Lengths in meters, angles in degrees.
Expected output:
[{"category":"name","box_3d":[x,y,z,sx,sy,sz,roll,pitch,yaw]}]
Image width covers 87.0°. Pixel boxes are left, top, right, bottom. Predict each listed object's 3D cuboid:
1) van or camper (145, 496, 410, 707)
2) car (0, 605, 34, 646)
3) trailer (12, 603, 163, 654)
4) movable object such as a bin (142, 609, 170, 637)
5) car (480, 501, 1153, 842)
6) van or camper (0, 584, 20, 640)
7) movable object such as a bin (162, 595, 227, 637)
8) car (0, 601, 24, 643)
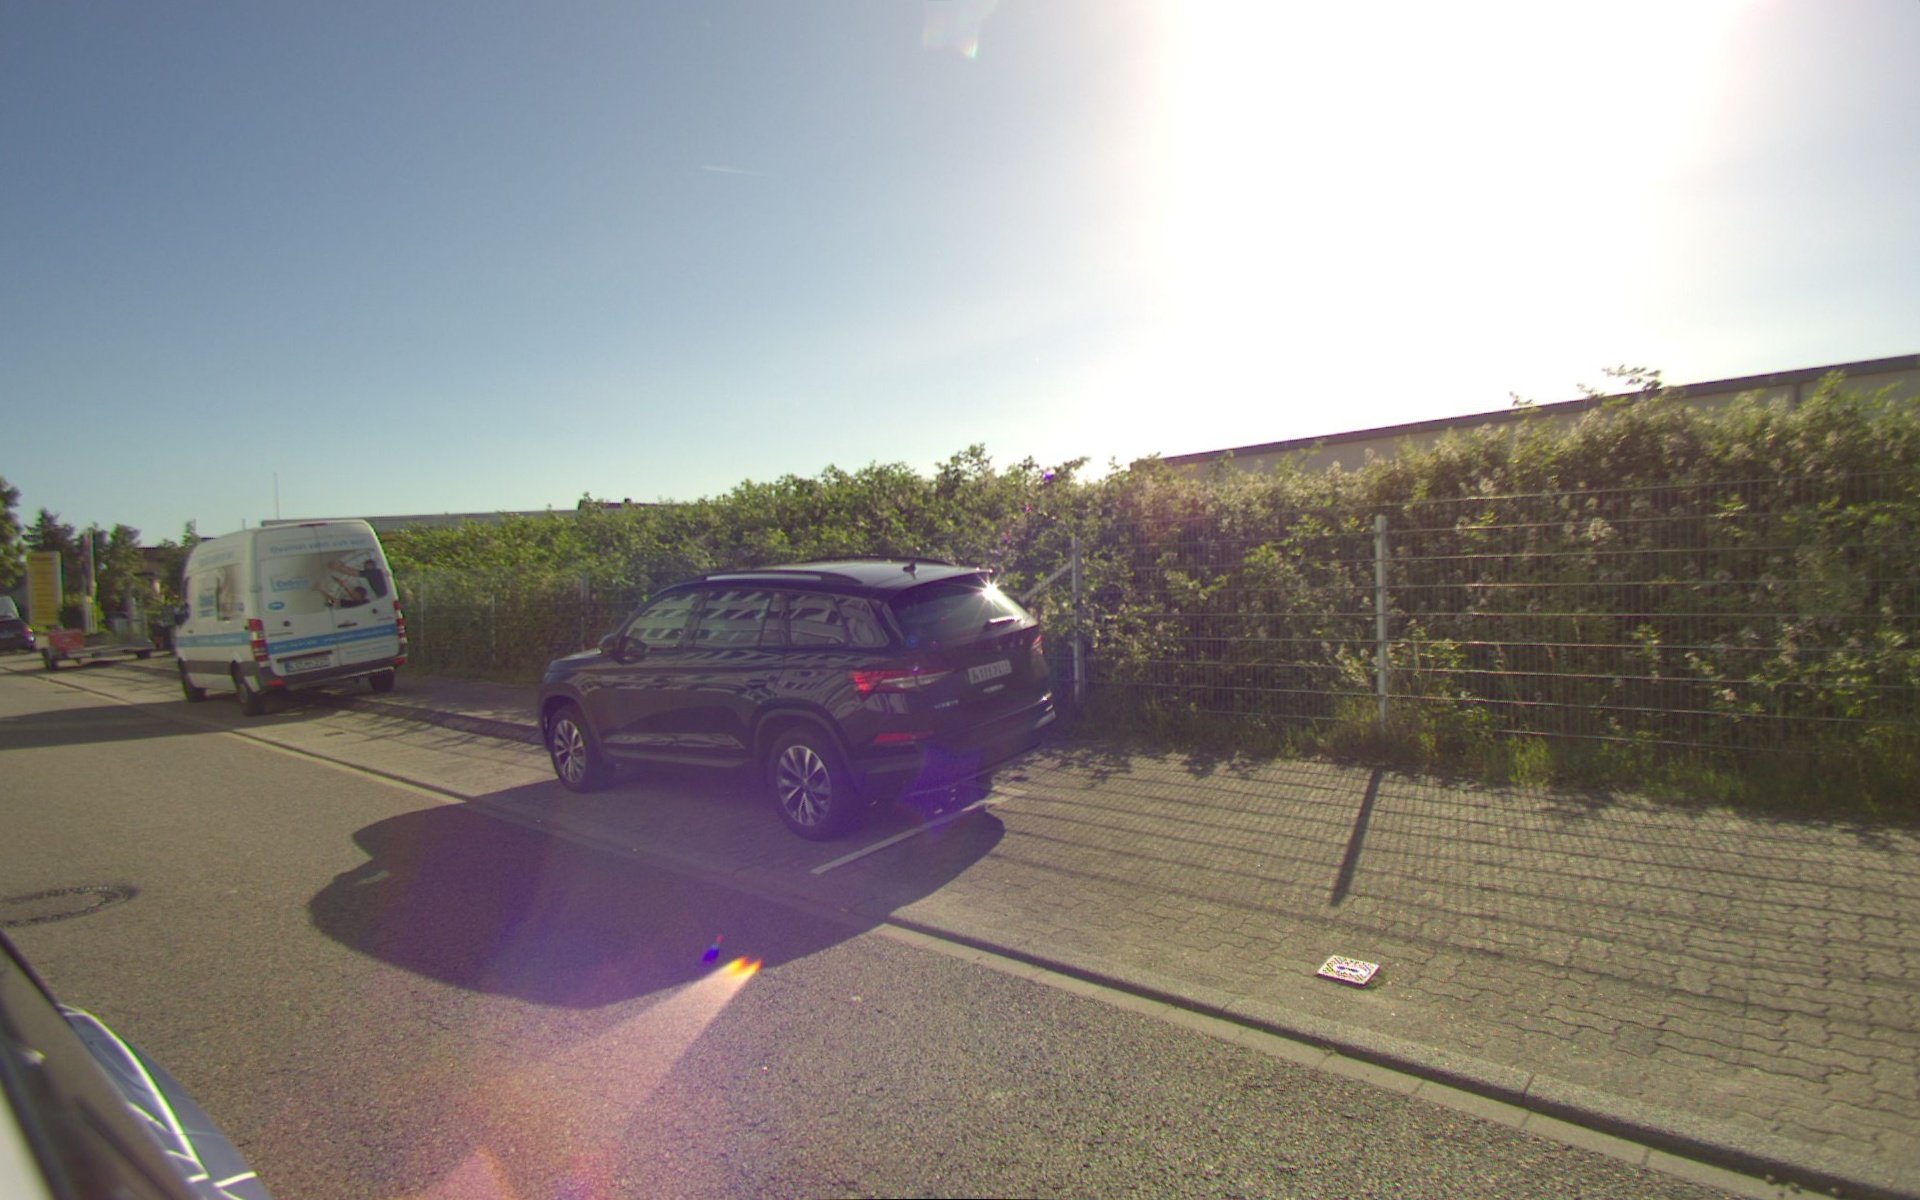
[{"category":"van or camper","box_3d":[-11.008,-0.020,16.079,5.948,2.704,1.946,-1,6,43]},{"category":"car","box_3d":[-39.641,1.068,41.567,5.001,1.520,1.781,-1,5,42]},{"category":"trailer","box_3d":[-25.035,0.795,28.942,6.242,1.087,2.352,-2,5,41]},{"category":"movable object such as a bin","box_3d":[-29.152,0.825,36.714,0.606,0.979,0.752,-1,2,-24]},{"category":"car","box_3d":[-1.348,0.326,7.600,5.103,1.706,2.011,-1,5,40]},{"category":"van or camper","box_3d":[-47.507,0.671,49.032,6.401,2.567,2.050,-1,5,41]},{"category":"movable object such as a bin","box_3d":[-27.933,0.567,36.961,1.596,1.415,1.099,-2,1,-21]},{"category":"car","box_3d":[-43.427,1.022,45.260,4.577,1.750,1.972,-1,5,45]}]
